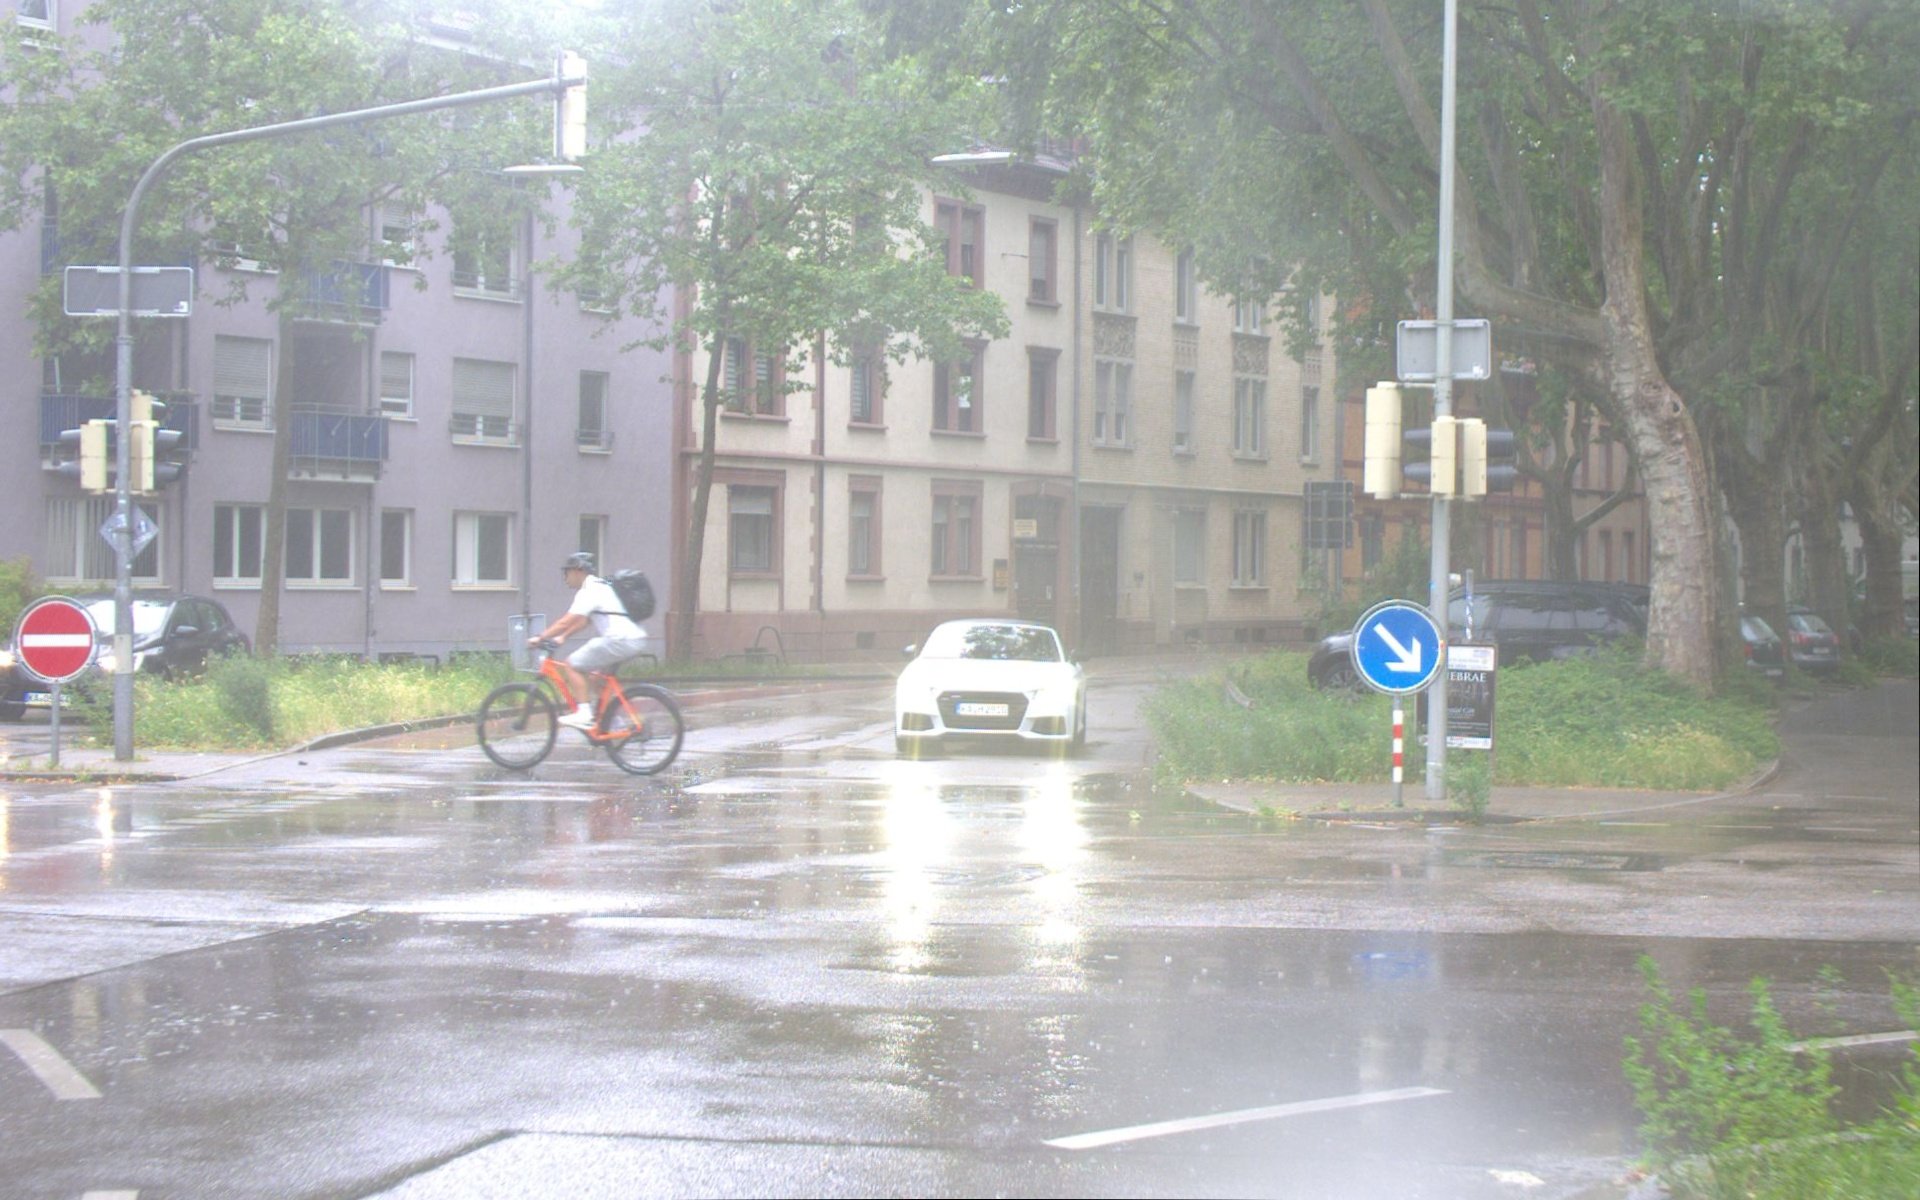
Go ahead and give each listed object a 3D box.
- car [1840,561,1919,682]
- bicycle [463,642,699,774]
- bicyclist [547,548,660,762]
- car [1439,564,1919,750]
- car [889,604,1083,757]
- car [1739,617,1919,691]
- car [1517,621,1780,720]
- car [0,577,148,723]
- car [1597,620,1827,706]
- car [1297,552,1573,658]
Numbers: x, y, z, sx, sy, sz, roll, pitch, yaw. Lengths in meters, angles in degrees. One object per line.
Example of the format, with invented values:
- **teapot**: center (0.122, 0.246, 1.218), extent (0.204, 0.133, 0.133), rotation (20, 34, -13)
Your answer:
- **car**: center (23.894, 0.531, 84.417), extent (2.033, 2.938, 4.773), rotation (1, 0, -21)
- **bicycle**: center (-3.202, 0.908, 29.129), extent (1.873, 1.077, 0.657), rotation (0, 0, 7)
- **bicyclist**: center (-3.010, 0.458, 29.081), extent (0.795, 1.780, 0.697), rotation (0, 0, 7)
- **car**: center (6.162, 0.461, 29.259), extent (3.989, 1.481, 1.999), rotation (0, 0, 12)
- **car**: center (0.295, 0.790, 35.695), extent (1.884, 1.431, 4.000), rotation (1, 1, 1)
- **car**: center (19.134, 1.171, 75.318), extent (3.989, 1.542, 1.999), rotation (0, 0, 12)
- **car**: center (10.867, 1.091, 54.307), extent (3.989, 1.481, 1.999), rotation (0, 0, 12)
- **car**: center (-10.255, 0.509, 37.982), extent (1.751, 1.506, 3.839), rotation (1, 0, -2)
- **car**: center (13.590, 1.129, 62.190), extent (3.989, 1.481, 1.999), rotation (0, 0, 12)
- **car**: center (6.948, 0.066, 50.132), extent (3.868, 1.481, 1.715), rotation (0, 0, 12)
